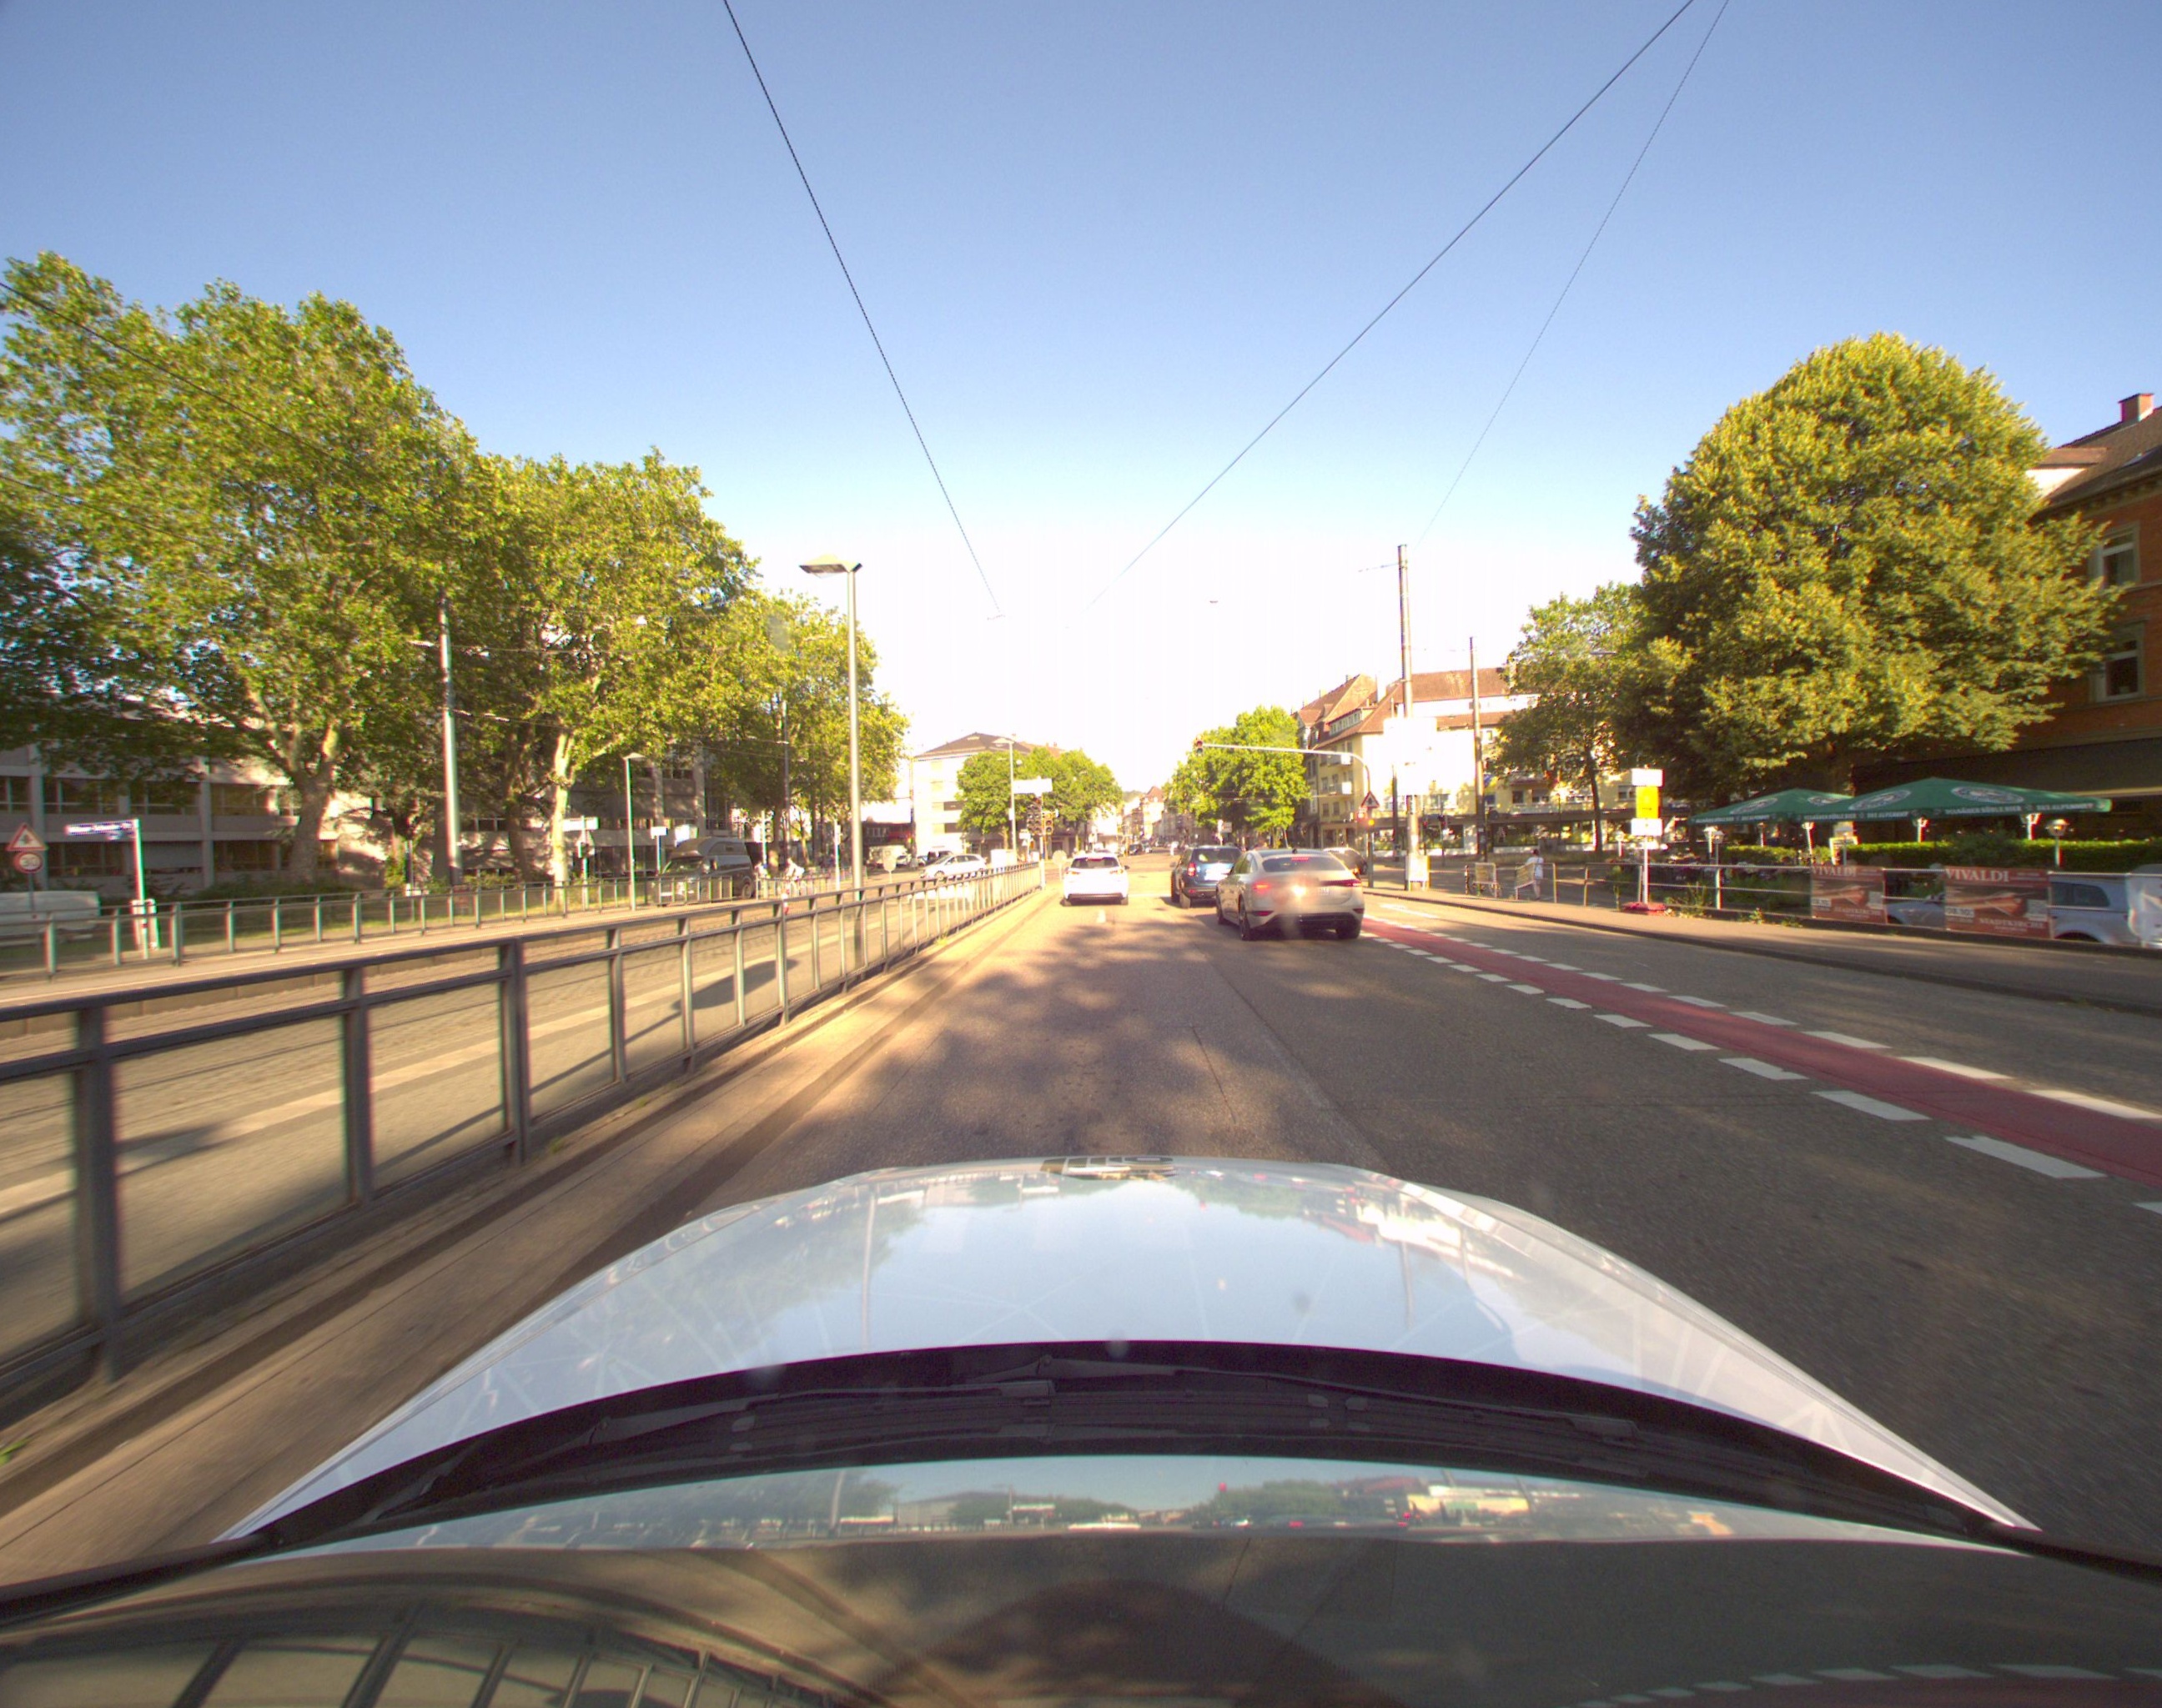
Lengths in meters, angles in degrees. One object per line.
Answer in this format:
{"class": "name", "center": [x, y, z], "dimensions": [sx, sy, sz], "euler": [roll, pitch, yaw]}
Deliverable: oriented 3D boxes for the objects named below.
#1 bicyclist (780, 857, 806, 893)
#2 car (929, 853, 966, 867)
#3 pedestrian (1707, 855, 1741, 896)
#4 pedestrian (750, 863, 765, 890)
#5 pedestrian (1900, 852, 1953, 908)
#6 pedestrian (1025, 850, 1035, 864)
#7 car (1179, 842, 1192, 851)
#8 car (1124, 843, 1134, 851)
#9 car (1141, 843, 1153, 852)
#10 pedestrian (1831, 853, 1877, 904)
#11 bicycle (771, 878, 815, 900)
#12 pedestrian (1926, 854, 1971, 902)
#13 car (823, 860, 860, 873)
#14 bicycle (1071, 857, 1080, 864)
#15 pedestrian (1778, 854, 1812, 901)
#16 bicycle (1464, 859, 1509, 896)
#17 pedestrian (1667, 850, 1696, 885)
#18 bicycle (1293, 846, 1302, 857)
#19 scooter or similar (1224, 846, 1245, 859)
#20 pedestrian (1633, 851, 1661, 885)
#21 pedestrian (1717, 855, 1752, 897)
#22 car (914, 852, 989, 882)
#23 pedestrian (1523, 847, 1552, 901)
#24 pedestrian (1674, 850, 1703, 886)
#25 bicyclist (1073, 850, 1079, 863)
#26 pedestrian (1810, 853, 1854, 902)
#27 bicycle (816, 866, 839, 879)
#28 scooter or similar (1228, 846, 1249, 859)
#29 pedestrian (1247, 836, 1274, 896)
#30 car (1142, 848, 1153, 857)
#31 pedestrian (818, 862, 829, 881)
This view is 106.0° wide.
{"class": "bicyclist", "center": [-11.666, 0.848, 33.014], "dimensions": [0.520, 1.414, 0.808], "euler": [-2, 0, 37]}
{"class": "car", "center": [-14.537, 0.666, 88.498], "dimensions": [3.949, 1.510, 1.811], "euler": [-2, 0, 42]}
{"class": "pedestrian", "center": [21.496, 0.699, 27.232], "dimensions": [0.645, 1.338, 0.632], "euler": [1, 0, 2]}
{"class": "pedestrian", "center": [-18.677, 1.303, 46.989], "dimensions": [0.533, 1.552, 0.677], "euler": [-2, 0, 1]}
{"class": "pedestrian", "center": [20.680, 0.628, 19.927], "dimensions": [0.645, 1.338, 0.632], "euler": [1, 0, 2]}
{"class": "pedestrian", "center": [-6.506, 0.404, 103.688], "dimensions": [0.828, 1.771, 0.787], "euler": [-2, 0, 27]}
{"class": "car", "center": [21.515, -1.531, 167.880], "dimensions": [2.097, 1.776, 4.343], "euler": [-2, 0, 2]}
{"class": "car", "center": [9.938, -1.418, 169.442], "dimensions": [1.788, 1.510, 4.000], "euler": [-2, 0, 1]}
{"class": "car", "center": [11.904, -1.195, 146.464], "dimensions": [1.788, 1.510, 4.000], "euler": [-2, 0, 1]}
{"class": "pedestrian", "center": [20.934, 0.649, 22.056], "dimensions": [0.645, 1.338, 0.632], "euler": [1, 0, 2]}
{"class": "bicycle", "center": [-11.650, 1.419, 33.013], "dimensions": [0.520, 0.816, 1.627], "euler": [-2, 0, 37]}
{"class": "pedestrian", "center": [23.602, 0.650, 22.157], "dimensions": [0.631, 1.261, 0.613], "euler": [1, 0, -16]}
{"class": "car", "center": [-29.349, 1.518, 99.757], "dimensions": [3.952, 1.510, 1.810], "euler": [-2, 0, 22]}
{"class": "bicycle", "center": [-0.668, 0.837, 106.261], "dimensions": [0.463, 0.956, 1.778], "euler": [-2, 0, 25]}
{"class": "pedestrian", "center": [20.844, 0.671, 23.780], "dimensions": [0.642, 1.338, 0.636], "euler": [1, 0, 32]}
{"class": "bicycle", "center": [12.276, 0.693, 24.710], "dimensions": [0.496, 1.075, 1.801], "euler": [-1, -1, 2]}
{"class": "pedestrian", "center": [23.431, 0.518, 31.770], "dimensions": [0.645, 1.338, 0.632], "euler": [1, 0, 2]}
{"class": "bicycle", "center": [21.098, -0.248, 79.367], "dimensions": [0.606, 1.107, 1.803], "euler": [-2, 0, 6]}
{"class": "scooter or similar", "center": [14.947, -0.144, 79.340], "dimensions": [1.926, 1.280, 0.557], "euler": [-2, 0, 43]}
{"class": "pedestrian", "center": [22.131, 0.539, 31.853], "dimensions": [0.645, 1.338, 0.632], "euler": [1, 0, 2]}
{"class": "pedestrian", "center": [21.046, 0.694, 26.238], "dimensions": [0.645, 1.338, 0.632], "euler": [1, 0, 2]}
{"class": "car", "center": [-7.964, 0.774, 50.222], "dimensions": [4.175, 1.692, 1.803], "euler": [-1, 0, -32]}
{"class": "pedestrian", "center": [13.617, 0.587, 24.310], "dimensions": [0.642, 1.563, 0.635], "euler": [1, 0, 20]}
{"class": "pedestrian", "center": [23.019, 0.514, 30.864], "dimensions": [0.645, 1.338, 0.632], "euler": [1, 0, 2]}
{"class": "bicyclist", "center": [-0.682, 0.344, 106.265], "dimensions": [0.463, 1.745, 0.721], "euler": [-2, 0, 25]}
{"class": "pedestrian", "center": [21.105, 0.656, 22.883], "dimensions": [0.645, 1.338, 0.632], "euler": [1, 0, 2]}
{"class": "bicycle", "center": [-22.273, 1.648, 71.527], "dimensions": [1.786, 1.107, 0.501], "euler": [-2, 0, 4]}
{"class": "scooter or similar", "center": [15.430, -0.145, 79.879], "dimensions": [1.926, 1.280, 0.557], "euler": [-2, 0, 43]}
{"class": "pedestrian", "center": [5.744, 0.378, 26.060], "dimensions": [0.654, 1.871, 0.678], "euler": [-2, 0, 1]}
{"class": "car", "center": [12.560, -0.318, 154.438], "dimensions": [1.788, 1.510, 4.000], "euler": [-2, 0, 1]}
{"class": "pedestrian", "center": [-22.469, 1.534, 71.075], "dimensions": [0.645, 1.661, 0.651], "euler": [-2, 0, 4]}
